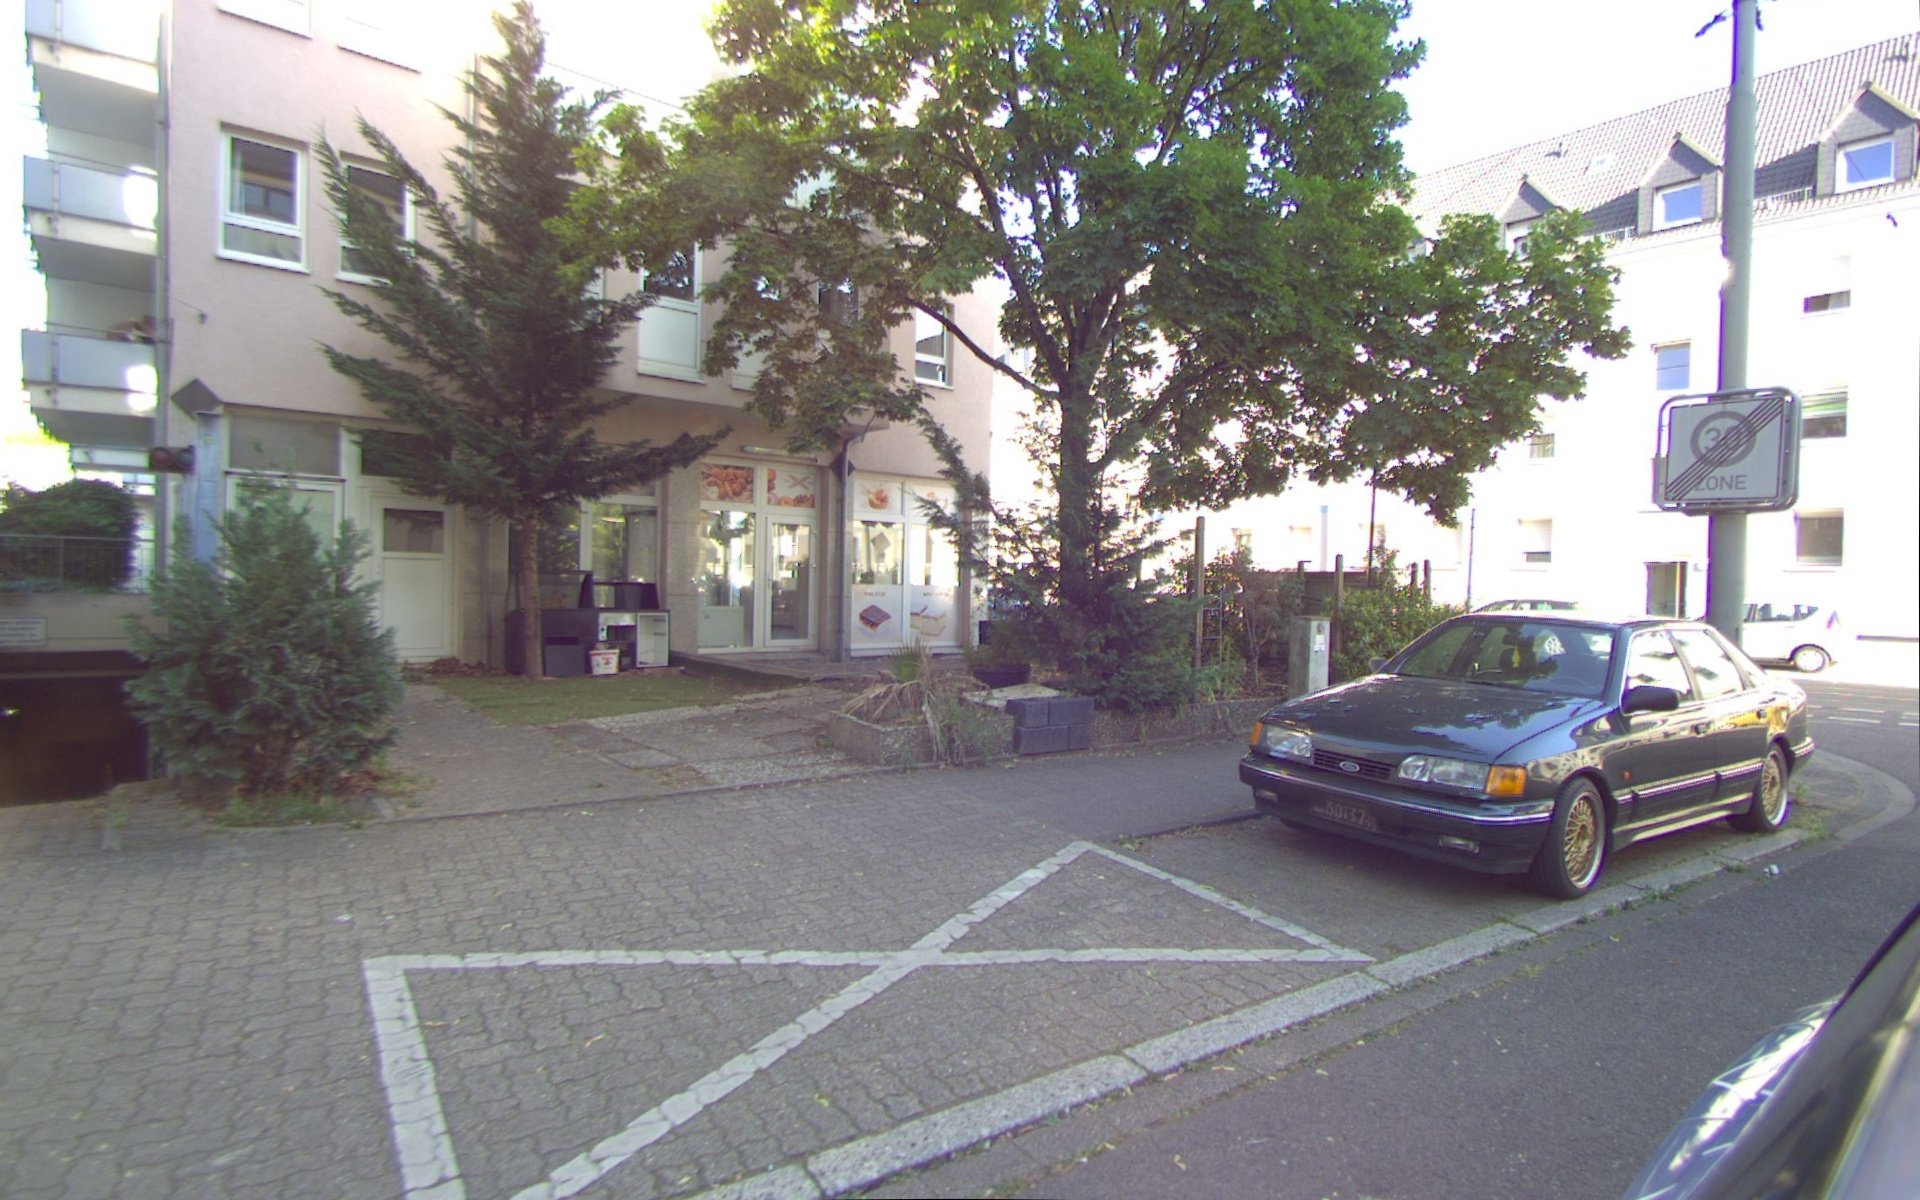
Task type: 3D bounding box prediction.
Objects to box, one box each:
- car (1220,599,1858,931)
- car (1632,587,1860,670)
[{"bbox_3d":[3.868,0.737,6.472,4.482,1.405,1.715,0,2,-34],"label":"car"},{"bbox_3d":[18.183,0.581,23.555,1.729,1.589,3.900,-4,4,-39],"label":"car"}]
